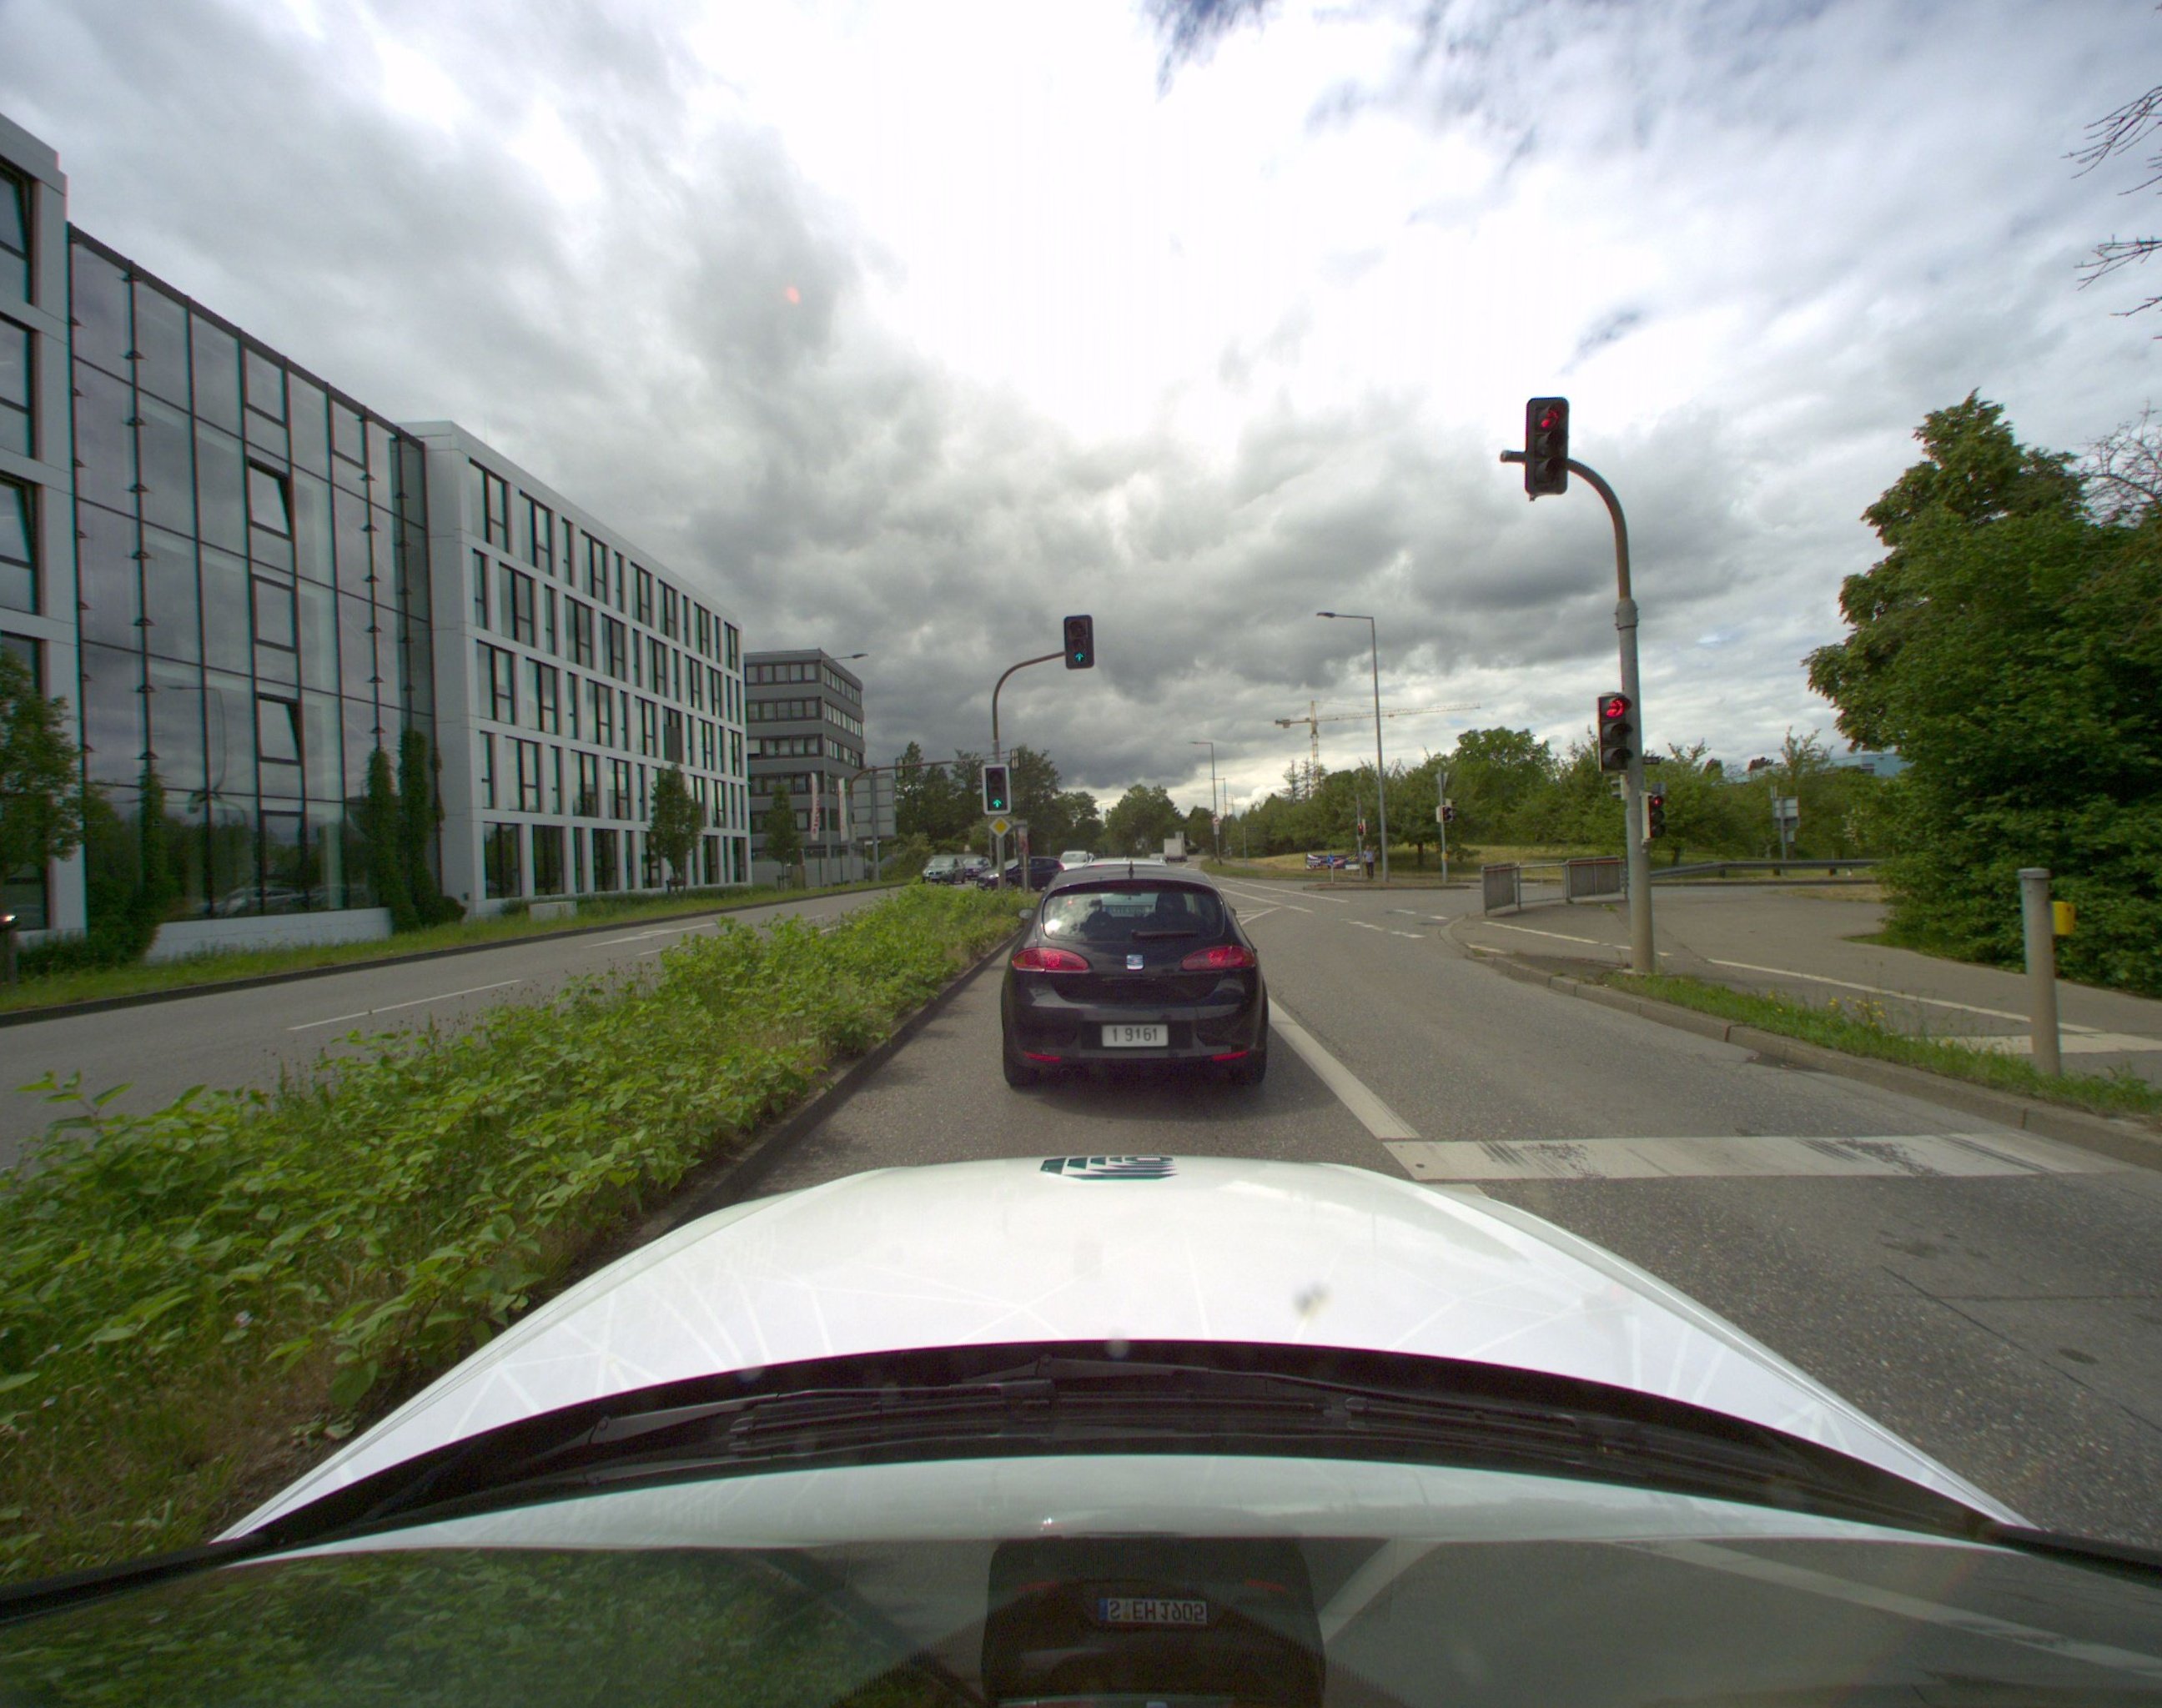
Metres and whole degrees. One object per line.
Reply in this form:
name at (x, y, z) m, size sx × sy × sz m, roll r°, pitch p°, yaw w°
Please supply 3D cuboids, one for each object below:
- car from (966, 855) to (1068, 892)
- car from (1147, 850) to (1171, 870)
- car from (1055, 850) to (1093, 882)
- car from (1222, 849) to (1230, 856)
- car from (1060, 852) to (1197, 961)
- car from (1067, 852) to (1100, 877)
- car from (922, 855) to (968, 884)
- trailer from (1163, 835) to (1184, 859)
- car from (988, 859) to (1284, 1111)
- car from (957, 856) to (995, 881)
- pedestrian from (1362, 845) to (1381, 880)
car at (-2.628, 0.771, 33.833) m, size 3.907 × 1.446 × 1.741 m, roll 0°, pitch -1°, yaw -34°
car at (6.686, 0.487, 69.835) m, size 1.984 × 1.565 × 4.478 m, roll -1°, pitch 0°, yaw 5°
car at (-0.354, 0.656, 46.435) m, size 1.812 × 1.686 × 4.650 m, roll 0°, pitch 0°, yaw 4°
car at (36.409, -0.397, 204.463) m, size 1.656 × 1.596 × 4.013 m, roll -1°, pitch -1°, yaw 11°
car at (0.736, 0.722, 12.827) m, size 1.827 × 1.467 × 3.754 m, roll 0°, pitch 0°, yaw 3°
car at (0.196, 0.648, 52.441) m, size 1.652 × 1.518 × 4.091 m, roll -1°, pitch 0°, yaw 6°
car at (-7.272, 0.807, 43.817) m, size 1.598 × 1.432 × 3.757 m, roll -1°, pitch 0°, yaw 4°
trailer at (12.132, -0.835, 106.963) m, size 2.477 × 3.073 × 5.600 m, roll -1°, pitch -1°, yaw 9°
car at (0.379, 0.772, 6.463) m, size 1.704 × 1.417 × 3.461 m, roll -1°, pitch 0°, yaw 2°
car at (-6.528, 0.859, 50.914) m, size 1.546 × 1.419 × 3.902 m, roll -1°, pitch 0°, yaw 5°
pedestrian at (15.120, 0.417, 42.419) m, size 0.714 × 1.793 × 1.045 m, roll 0°, pitch -1°, yaw 5°
